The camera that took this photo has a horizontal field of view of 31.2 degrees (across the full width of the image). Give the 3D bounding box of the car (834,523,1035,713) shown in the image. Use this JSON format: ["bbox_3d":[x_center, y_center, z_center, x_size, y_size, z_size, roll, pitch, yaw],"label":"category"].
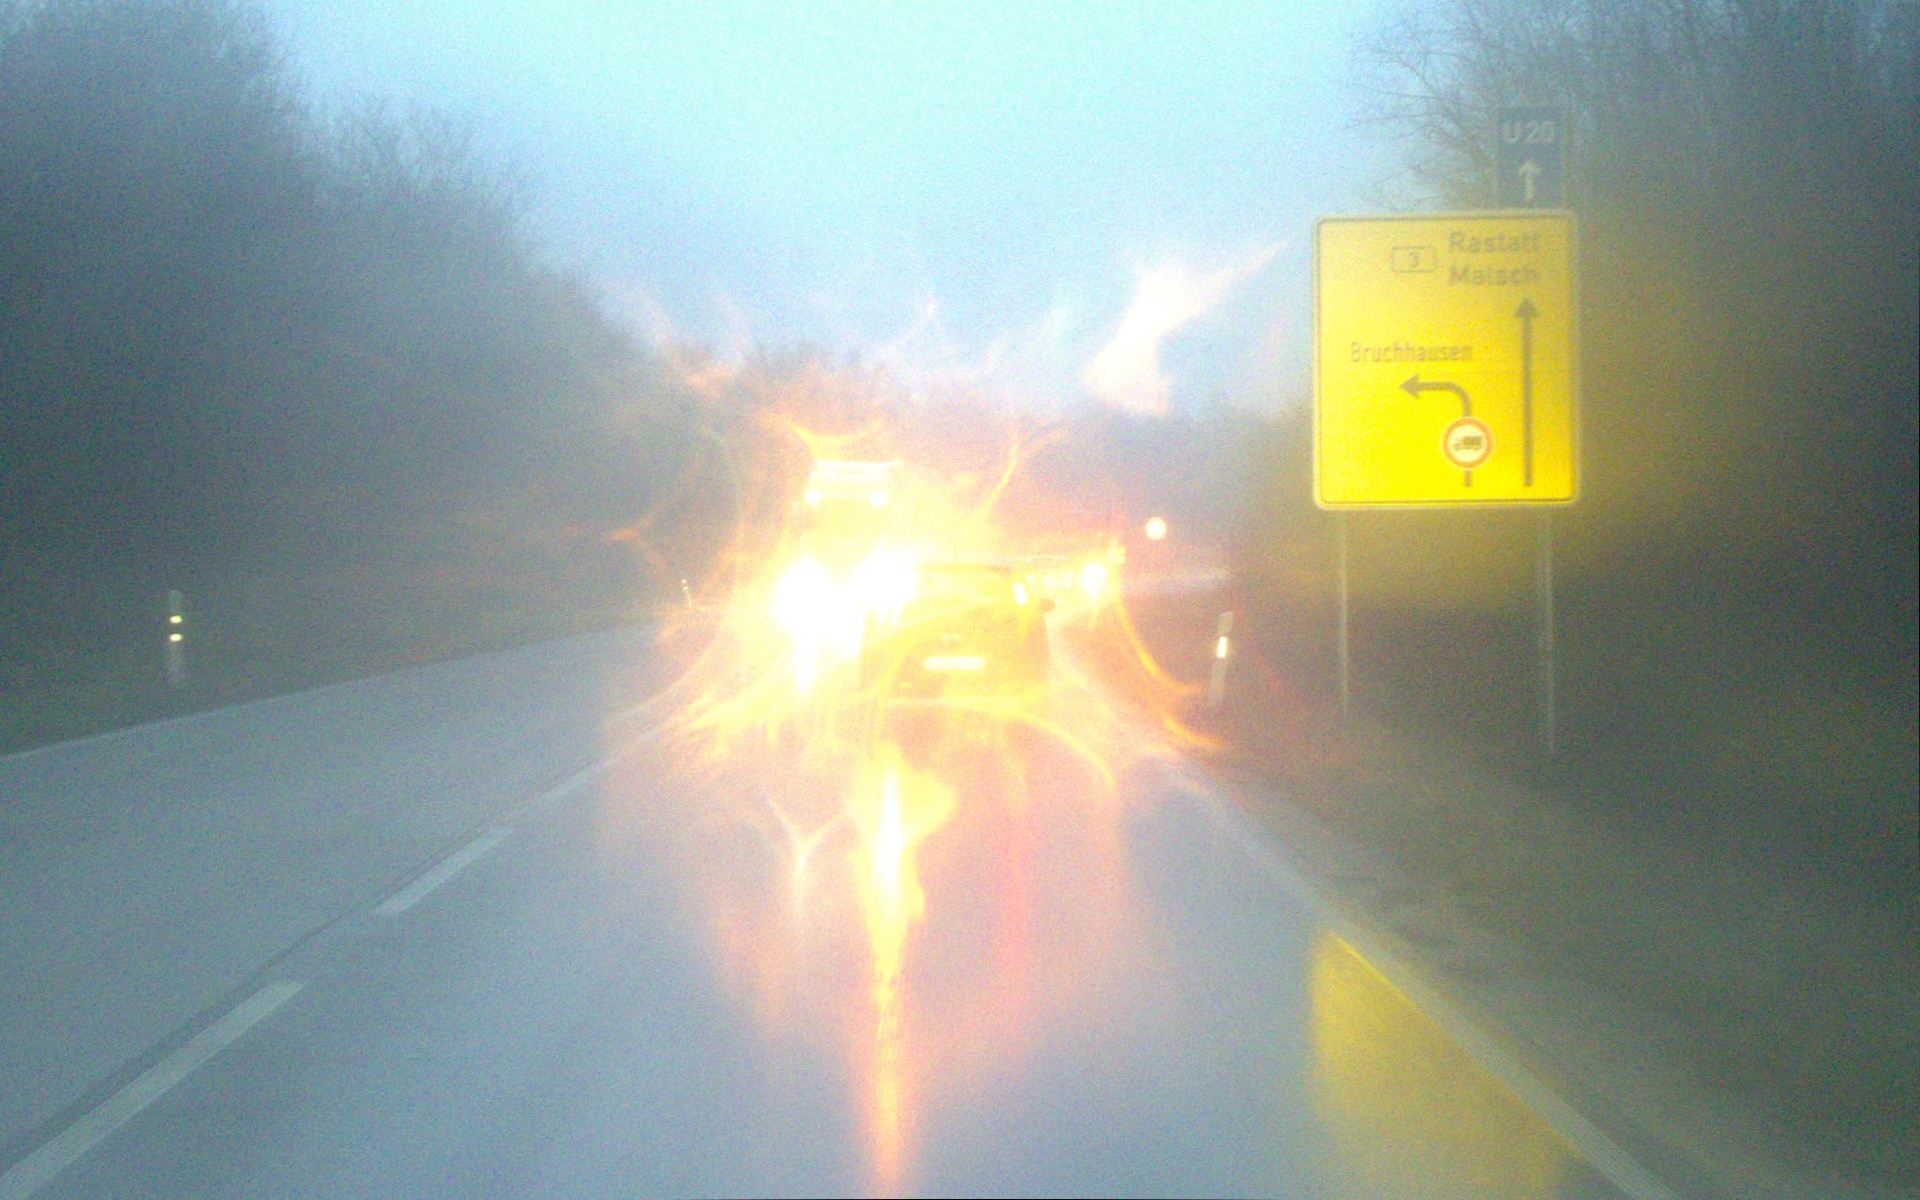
[{"bbox_3d":[-0.242,0.117,31.741,1.727,1.638,4.000,0,1,-1],"label":"car"}]

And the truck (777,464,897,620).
[{"bbox_3d":[-3.325,-1.603,94.666,2.799,4.112,7.199,0,1,2],"label":"truck"}]
